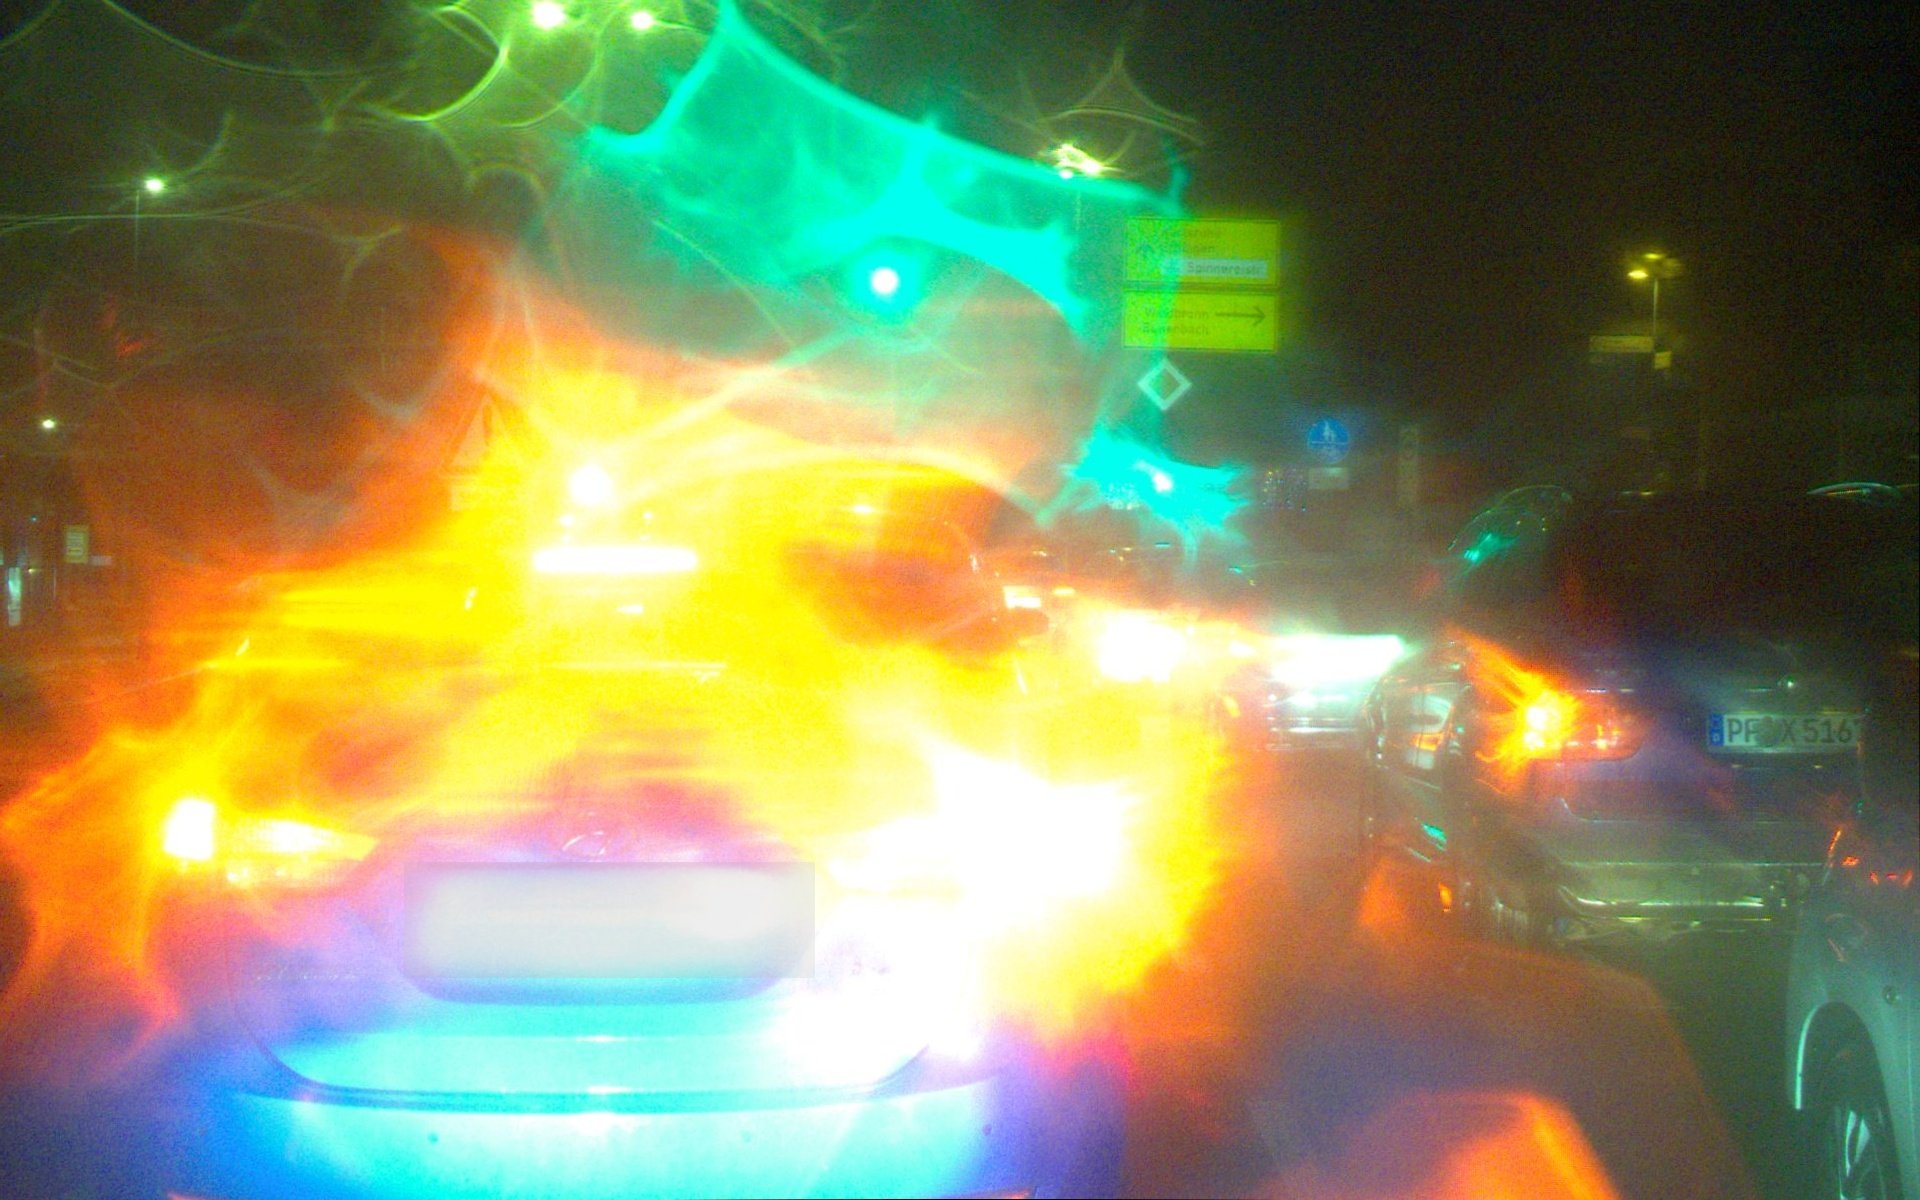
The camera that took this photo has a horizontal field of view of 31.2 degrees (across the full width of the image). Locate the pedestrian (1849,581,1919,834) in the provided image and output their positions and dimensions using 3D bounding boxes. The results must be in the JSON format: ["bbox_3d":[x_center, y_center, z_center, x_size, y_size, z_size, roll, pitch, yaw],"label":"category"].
[{"bbox_3d":[6.476,0.727,23.477,0.622,1.696,0.541,1,0,-3],"label":"pedestrian"}]

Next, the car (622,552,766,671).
[{"bbox_3d":[-4.330,0.157,55.417,1.993,1.818,4.001,1,0,-9],"label":"car"}]

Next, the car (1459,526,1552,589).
[{"bbox_3d":[14.900,-1.157,94.113,1.865,1.641,3.963,-2,1,0],"label":"car"}]

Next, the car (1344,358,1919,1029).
[{"bbox_3d":[2.647,0.276,12.550,1.968,2.040,4.000,1,0,-1],"label":"car"}]

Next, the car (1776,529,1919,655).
[{"bbox_3d":[12.044,-0.081,40.629,4.334,1.455,1.849,1,1,28],"label":"car"}]

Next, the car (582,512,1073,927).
[{"bbox_3d":[-0.568,0.475,16.151,1.993,1.678,4.000,1,0,-1],"label":"car"}]

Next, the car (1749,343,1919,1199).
[{"bbox_3d":[2.481,0.537,4.462,1.851,1.858,4.341,1,0,-1],"label":"car"}]

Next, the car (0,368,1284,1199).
[{"bbox_3d":[-0.562,0.493,7.544,2.014,1.711,4.452,1,0,-1],"label":"car"}]

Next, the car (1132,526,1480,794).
[{"bbox_3d":[2.347,0.375,24.350,1.993,1.712,4.000,1,0,-1],"label":"car"}]

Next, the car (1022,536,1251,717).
[{"bbox_3d":[1.681,0.228,34.068,1.993,1.664,4.000,1,0,-1],"label":"car"}]

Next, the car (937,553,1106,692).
[{"bbox_3d":[0.787,0.277,46.400,1.993,1.767,4.000,1,0,-3],"label":"car"}]
